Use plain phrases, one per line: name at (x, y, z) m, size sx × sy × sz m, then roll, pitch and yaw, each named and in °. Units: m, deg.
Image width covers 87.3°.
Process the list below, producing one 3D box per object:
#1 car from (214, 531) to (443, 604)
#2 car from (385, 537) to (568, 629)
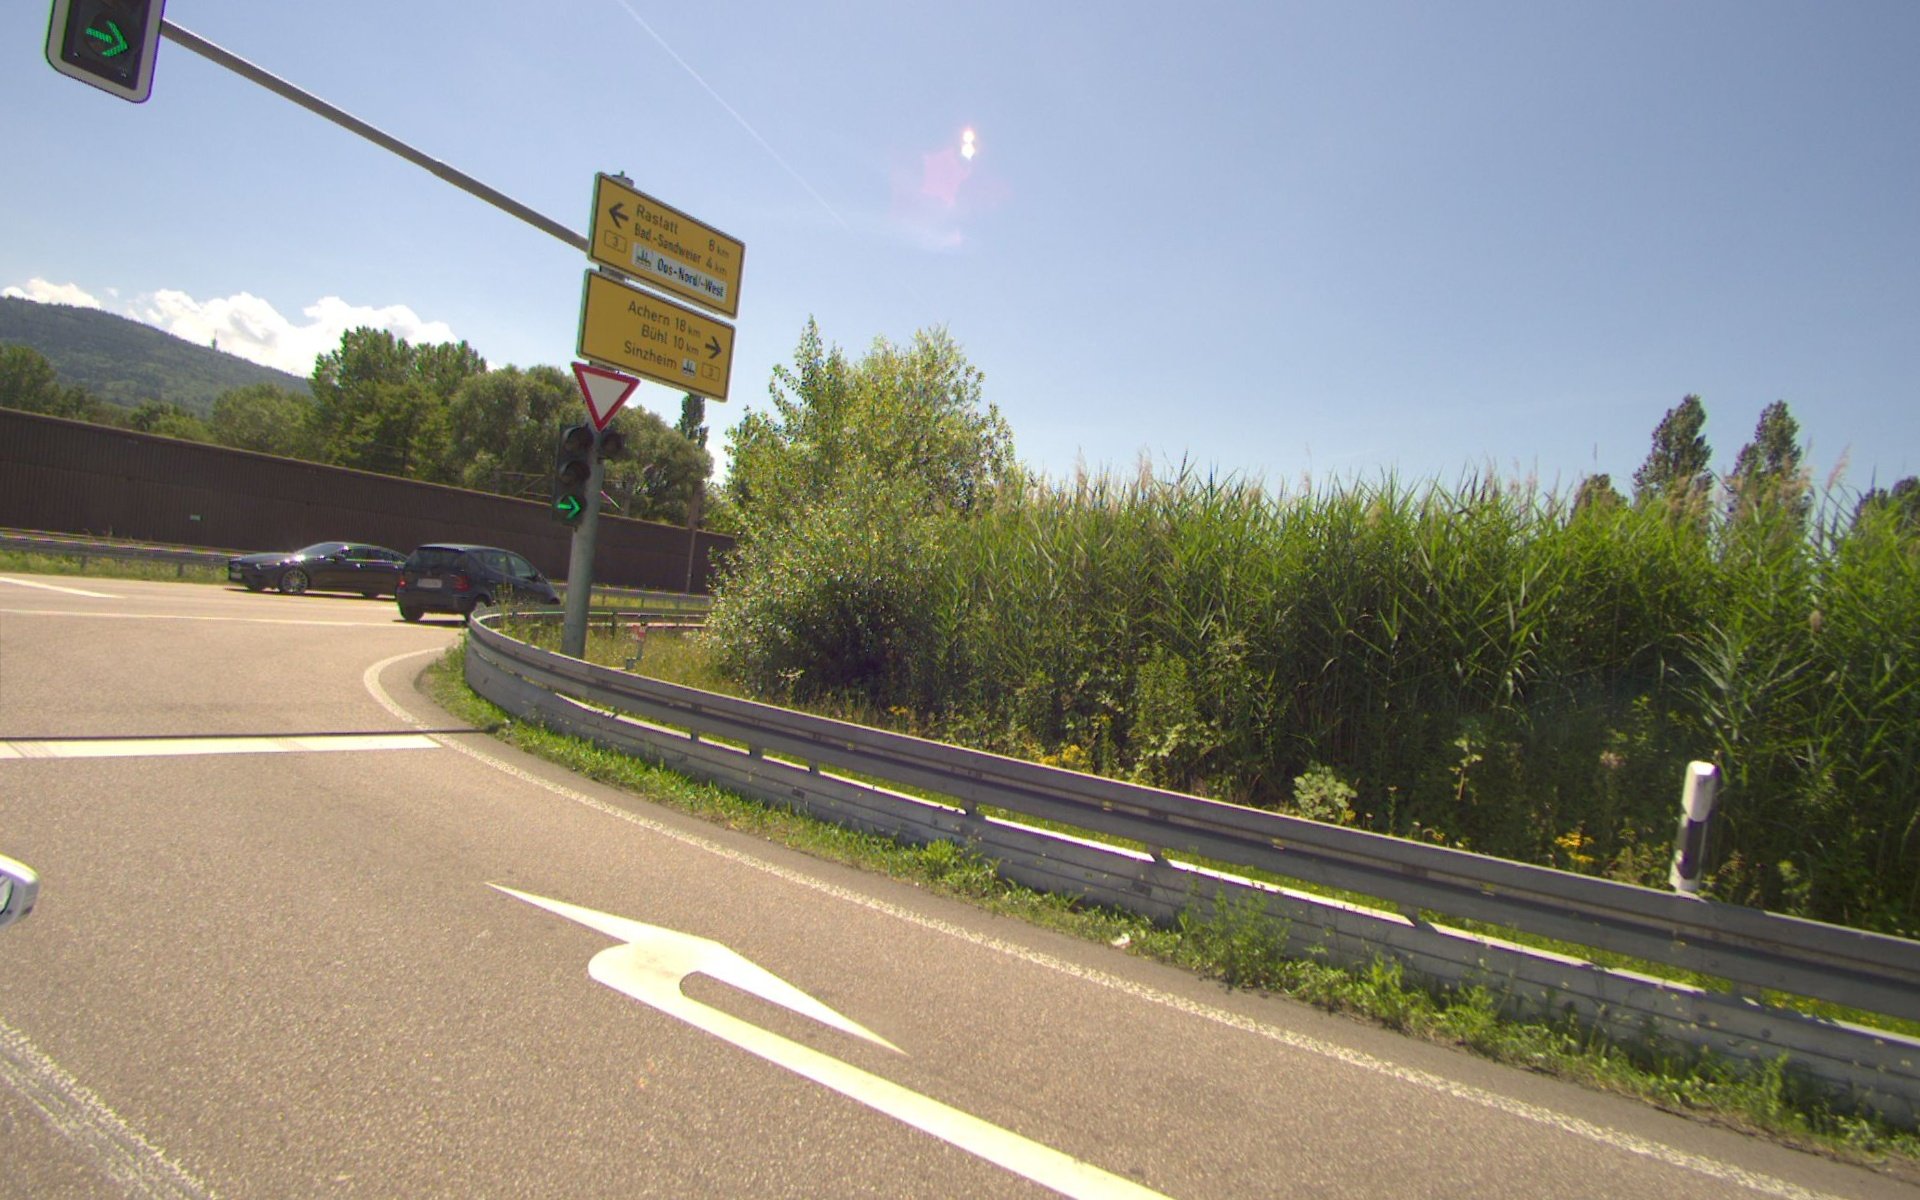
car at (-16.202, -0.777, 26.089) m, size 1.880 × 1.381 × 4.641 m, roll 5°, pitch -1°, yaw 28°
car at (-10.034, -0.289, 21.189) m, size 1.612 × 1.616 × 3.563 m, roll 6°, pitch 0°, yaw 9°
